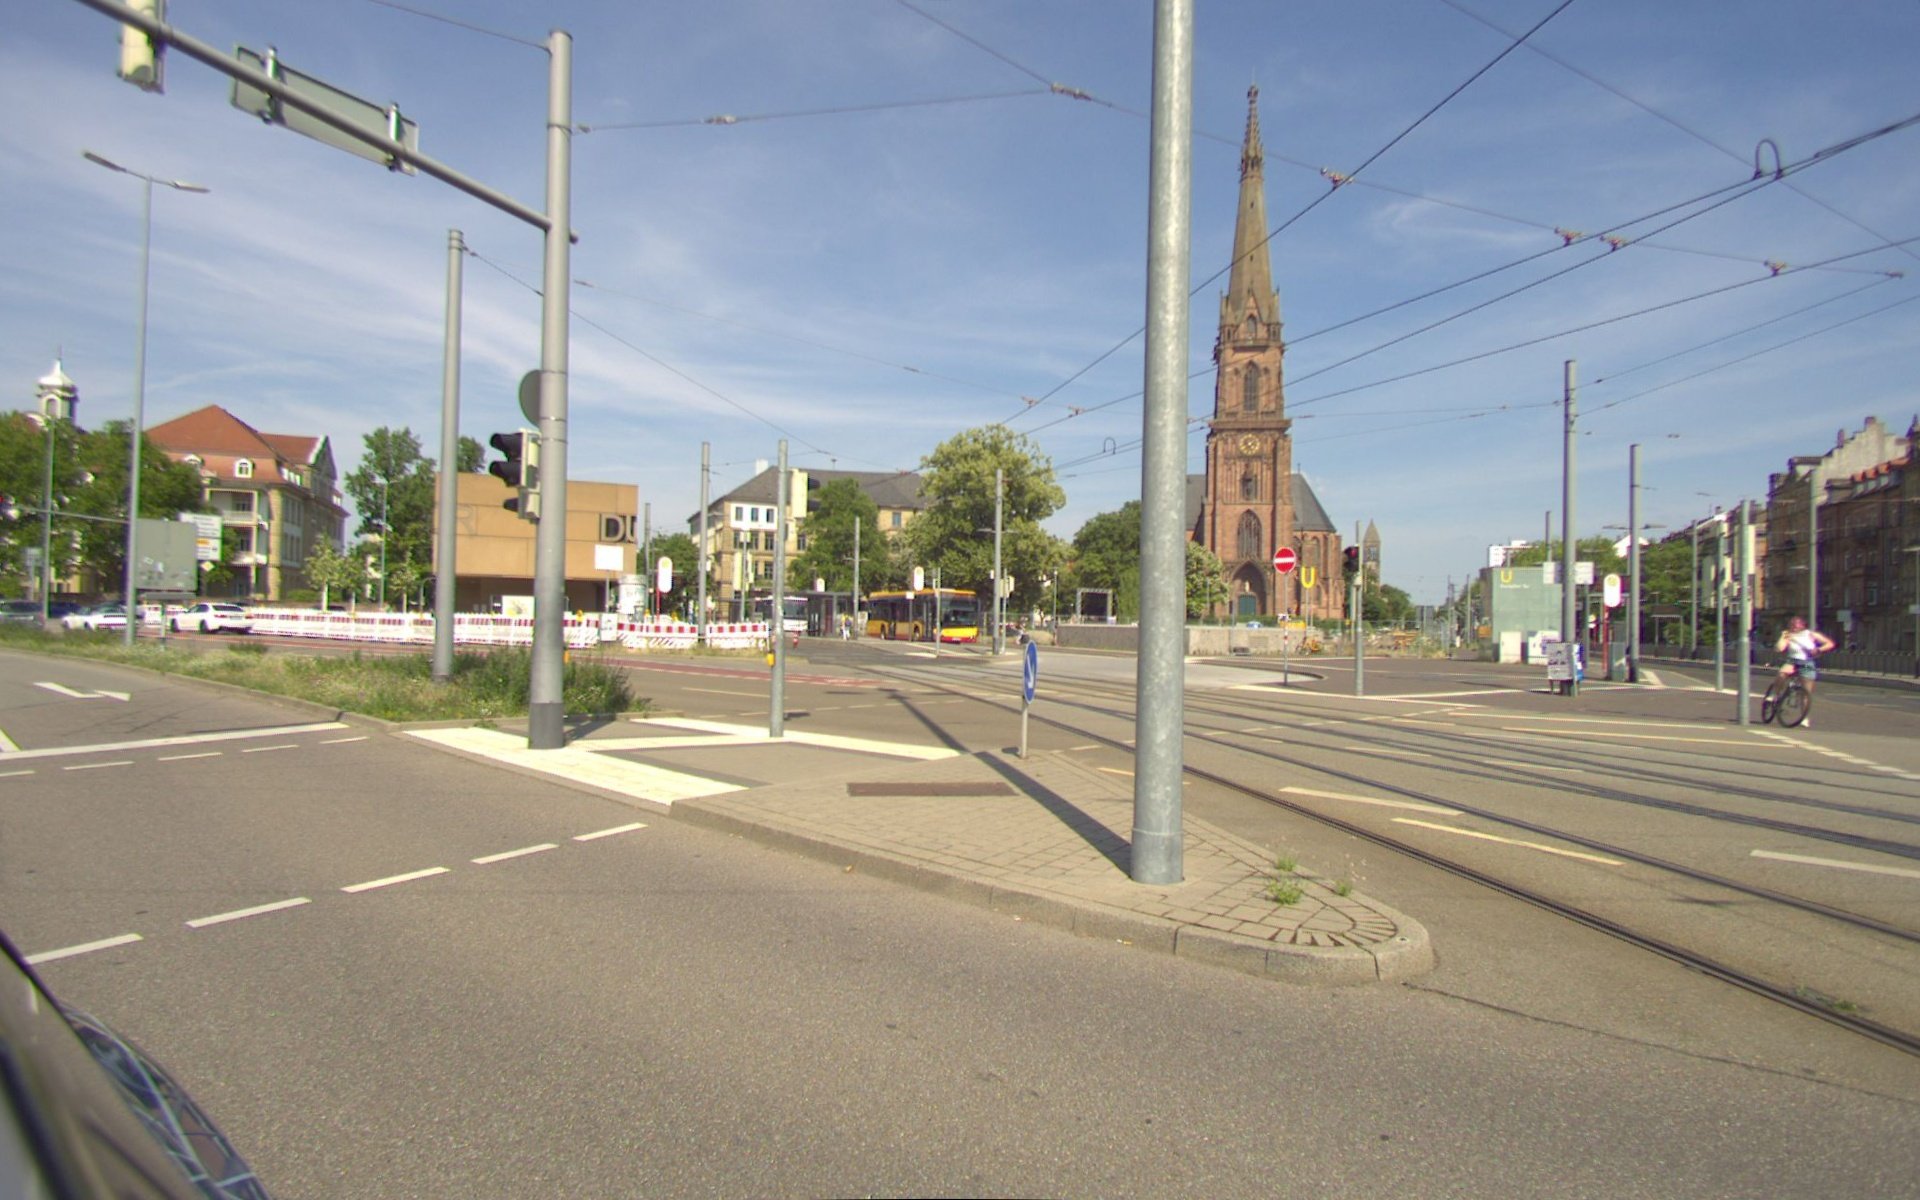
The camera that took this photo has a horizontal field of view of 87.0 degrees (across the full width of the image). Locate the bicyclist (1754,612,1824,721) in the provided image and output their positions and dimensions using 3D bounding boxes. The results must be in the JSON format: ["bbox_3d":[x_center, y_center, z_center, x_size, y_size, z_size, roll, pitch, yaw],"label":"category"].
[{"bbox_3d":[13.453,1.075,16.441,0.748,1.697,0.769,0,-3,30],"label":"bicyclist"}]

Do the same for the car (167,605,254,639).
[{"bbox_3d":[-34.291,0.995,46.305,3.984,1.431,1.785,0,1,30],"label":"car"}]

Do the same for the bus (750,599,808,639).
[{"bbox_3d":[-16.464,1.723,91.312,2.710,3.348,11.827,2,-2,-22],"label":"bus"}]

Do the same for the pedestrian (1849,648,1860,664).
[{"bbox_3d":[81.617,5.120,92.332,0.530,1.417,0.488,0,0,18],"label":"pedestrian"}]

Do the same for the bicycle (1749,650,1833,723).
[{"bbox_3d":[13.461,1.389,16.438,0.748,1.092,1.830,0,-3,30],"label":"bicycle"}]

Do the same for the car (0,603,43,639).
[{"bbox_3d":[-37.555,0.782,39.422,3.984,1.296,1.583,1,1,30],"label":"car"}]

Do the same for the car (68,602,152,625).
[{"bbox_3d":[-57.318,0.902,68.337,1.743,1.454,4.093,0,0,15],"label":"car"}]

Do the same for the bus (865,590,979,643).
[{"bbox_3d":[-2.451,0.816,57.780,2.710,2.703,11.828,0,1,-22],"label":"bus"}]

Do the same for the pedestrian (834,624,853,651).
[{"bbox_3d":[-6.278,2.000,54.334,0.911,1.377,0.532,1,0,41],"label":"pedestrian"}]

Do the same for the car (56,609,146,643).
[{"bbox_3d":[-35.300,1.040,41.560,3.984,1.296,1.583,1,1,30],"label":"car"}]
